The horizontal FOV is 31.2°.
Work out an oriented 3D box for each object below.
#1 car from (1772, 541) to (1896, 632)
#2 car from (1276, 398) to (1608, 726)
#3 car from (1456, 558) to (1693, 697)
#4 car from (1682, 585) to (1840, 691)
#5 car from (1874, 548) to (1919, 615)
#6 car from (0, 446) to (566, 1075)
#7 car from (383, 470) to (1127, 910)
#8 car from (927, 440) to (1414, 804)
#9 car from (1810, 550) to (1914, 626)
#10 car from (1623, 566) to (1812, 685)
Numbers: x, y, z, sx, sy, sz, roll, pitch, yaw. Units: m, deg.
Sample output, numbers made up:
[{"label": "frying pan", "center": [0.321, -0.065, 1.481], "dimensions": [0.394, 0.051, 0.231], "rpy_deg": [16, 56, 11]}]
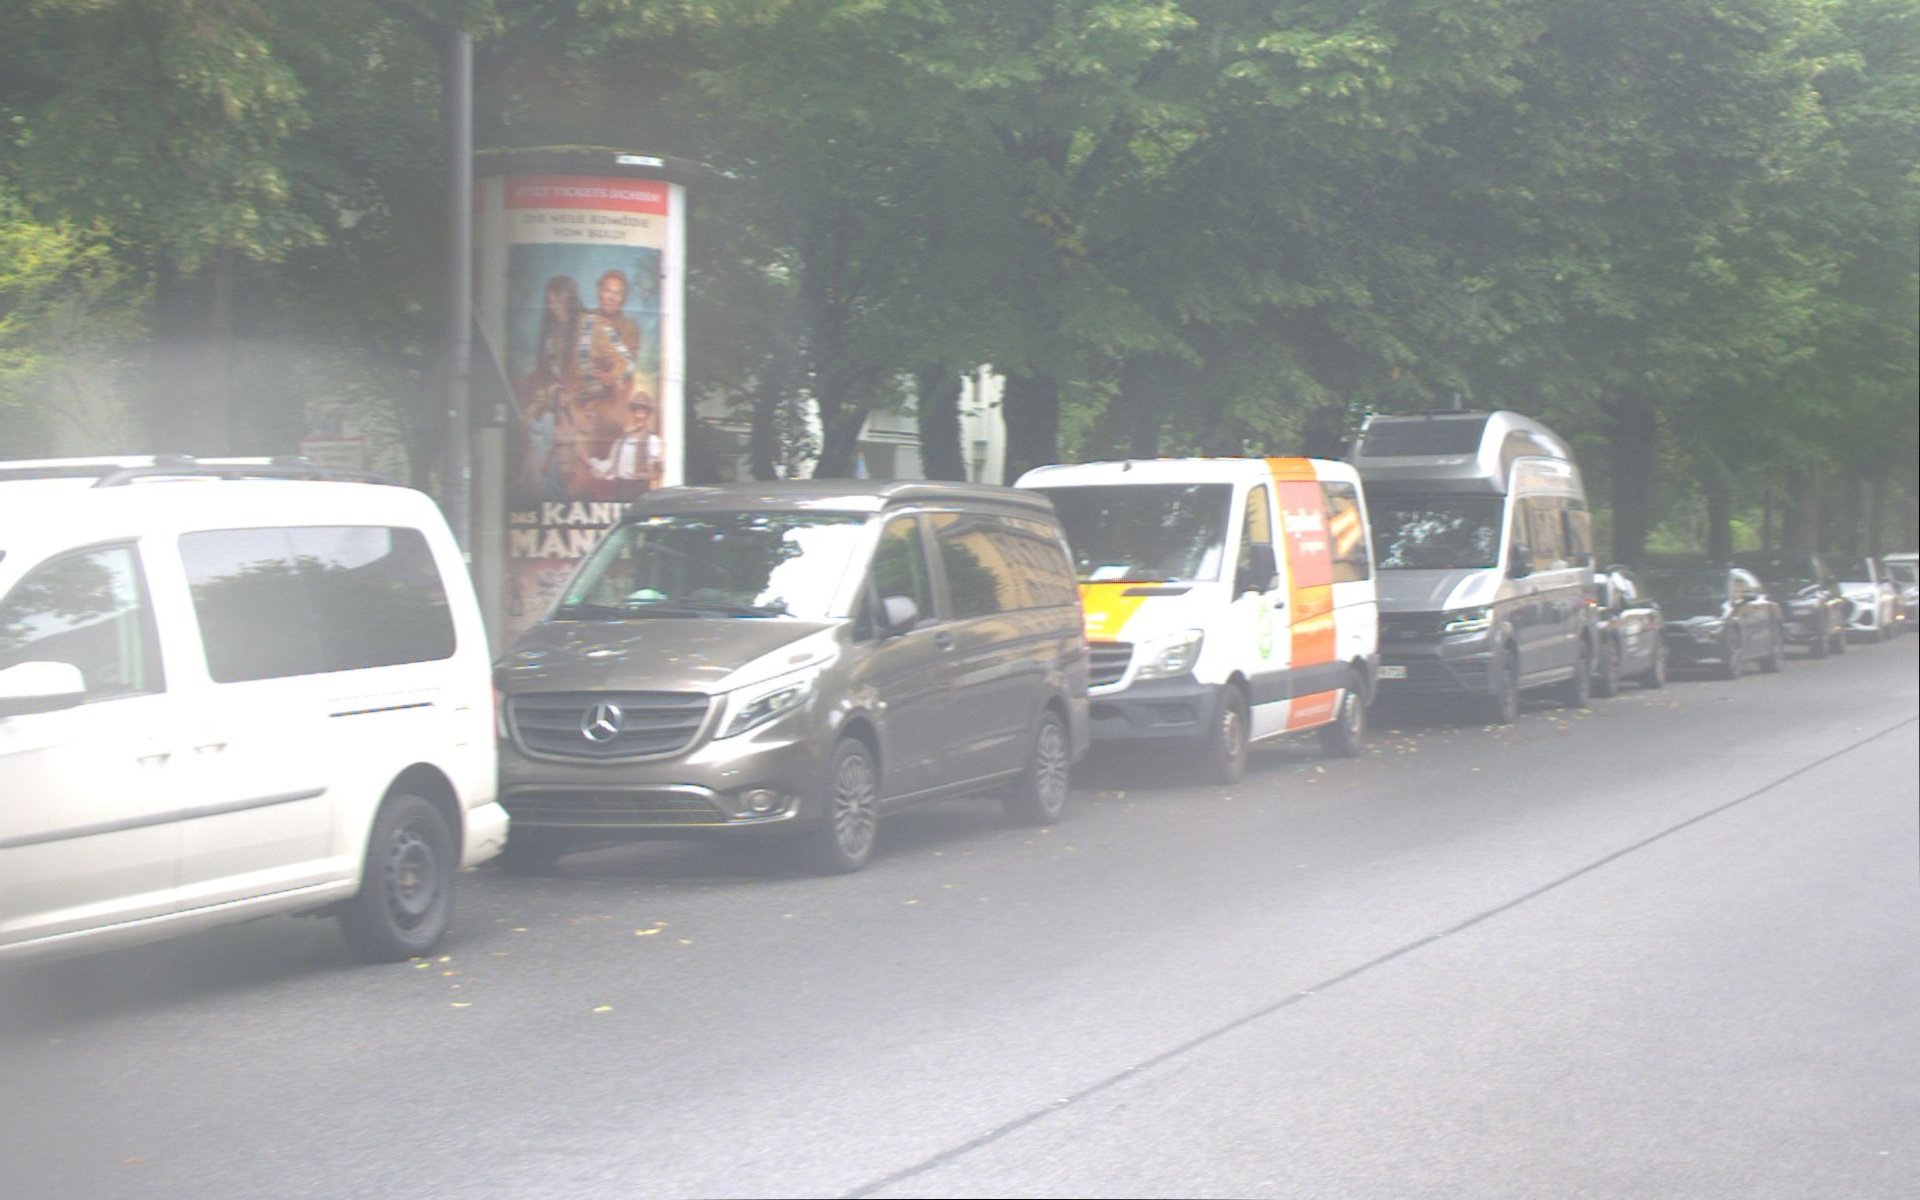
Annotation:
[{"label": "car", "center": [15.985, -0.256, 62.761], "dimensions": [1.786, 1.592, 4.580], "rpy_deg": [1, 0, 19]}, {"label": "car", "center": [4.764, -0.328, 33.092], "dimensions": [1.947, 2.845, 6.230], "rpy_deg": [1, 0, 19]}, {"label": "car", "center": [7.064, 0.267, 39.168], "dimensions": [1.792, 1.433, 4.573], "rpy_deg": [0, 1, 22]}, {"label": "car", "center": [11.680, 0.538, 49.987], "dimensions": [1.792, 1.449, 3.945], "rpy_deg": [1, 0, 20]}, {"label": "car", "center": [21.660, -0.409, 77.598], "dimensions": [1.674, 1.464, 4.100], "rpy_deg": [1, 0, 19]}, {"label": "car", "center": [-3.410, 0.481, 11.844], "dimensions": [1.882, 1.930, 4.827], "rpy_deg": [0, 1, 24]}, {"label": "car", "center": [-0.841, 0.365, 18.172], "dimensions": [1.947, 1.957, 5.454], "rpy_deg": [0, 1, 19]}, {"label": "car", "center": [1.683, 0.144, 24.991], "dimensions": [2.116, 2.340, 5.403], "rpy_deg": [1, 0, 19]}, {"label": "car", "center": [18.012, -0.242, 68.565], "dimensions": [1.674, 1.464, 4.100], "rpy_deg": [1, 0, 19]}, {"label": "car", "center": [9.734, 0.316, 43.943], "dimensions": [1.792, 1.433, 4.546], "rpy_deg": [1, 0, 19]}]
